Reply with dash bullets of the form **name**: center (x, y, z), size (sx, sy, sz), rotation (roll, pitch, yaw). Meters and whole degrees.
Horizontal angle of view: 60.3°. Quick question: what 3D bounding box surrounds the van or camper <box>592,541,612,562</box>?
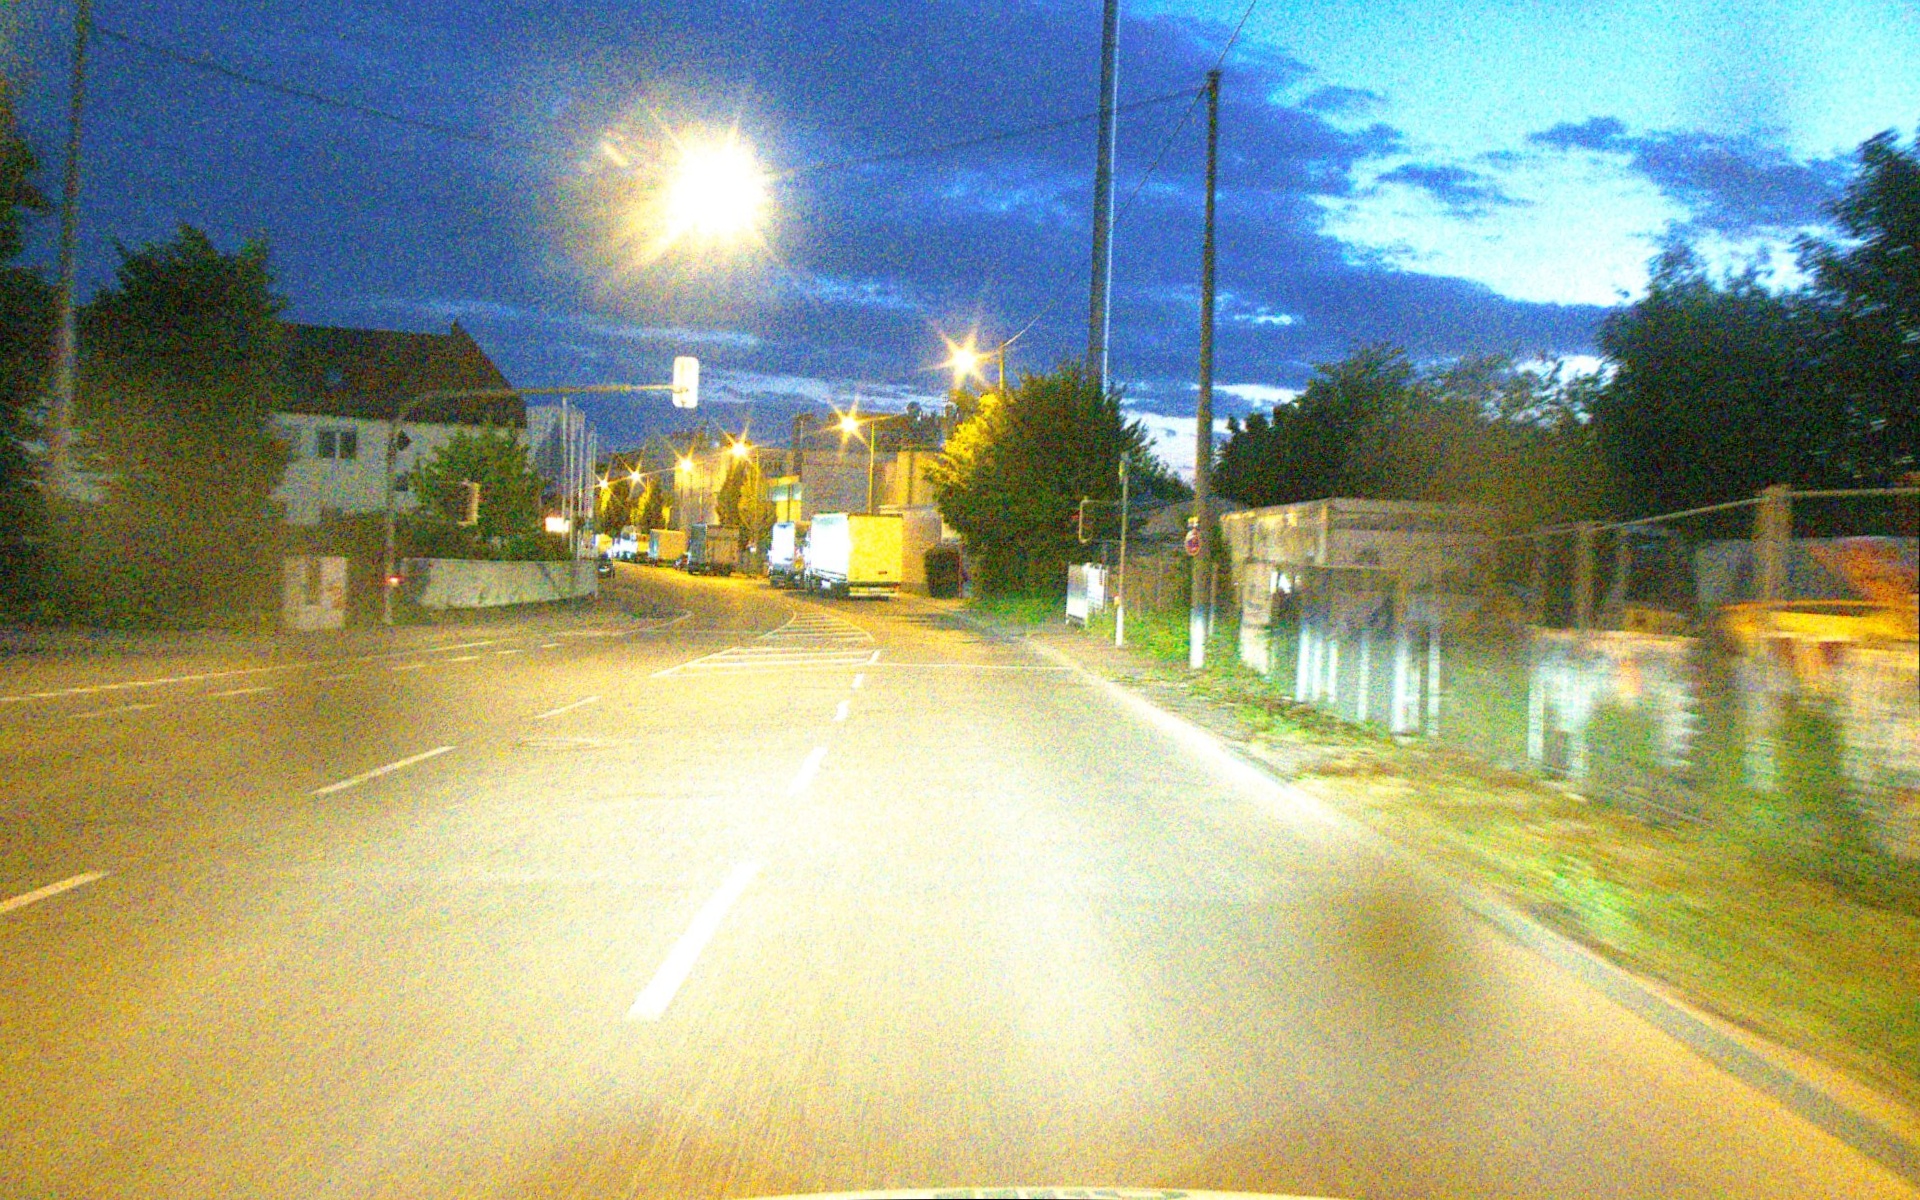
- **van or camper**: center (-46.024, -6.225, 212.546), size (1.962, 2.626, 4.893), rotation (2, 1, -17)

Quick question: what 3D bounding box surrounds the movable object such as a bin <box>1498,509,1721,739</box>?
- **movable object such as a bin**: center (7.317, 0.255, 18.743), size (1.650, 2.424, 1.611), rotation (3, 1, -13)

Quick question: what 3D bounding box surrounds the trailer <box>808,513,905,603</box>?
- **trailer**: center (-5.343, -2.097, 82.500), size (2.759, 4.052, 13.933), rotation (0, 1, -12)

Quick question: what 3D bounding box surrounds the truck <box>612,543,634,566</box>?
- **truck**: center (-39.165, -5.311, 192.105), size (1.962, 2.449, 5.267), rotation (2, 1, -18)

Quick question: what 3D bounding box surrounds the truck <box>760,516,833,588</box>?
- **truck**: center (-9.927, -2.855, 99.409), size (2.783, 4.052, 10.303), rotation (0, 1, -15)

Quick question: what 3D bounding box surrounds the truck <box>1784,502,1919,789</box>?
- **truck**: center (9.322, 0.453, 12.848), size (2.138, 2.465, 7.316), rotation (3, 1, 0)

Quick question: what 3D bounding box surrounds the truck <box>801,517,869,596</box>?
- **truck**: center (-6.804, -2.351, 89.243), size (2.781, 4.052, 6.031), rotation (0, 1, -13)

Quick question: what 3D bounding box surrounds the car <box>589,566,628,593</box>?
- **car**: center (-23.571, -1.371, 110.869), size (1.963, 1.665, 4.748), rotation (2, 1, -19)

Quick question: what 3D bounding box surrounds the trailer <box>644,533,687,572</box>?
- **trailer**: center (-28.212, -4.538, 158.386), size (2.647, 3.524, 7.764), rotation (2, 1, -20)

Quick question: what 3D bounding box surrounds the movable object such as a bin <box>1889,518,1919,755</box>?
- **movable object such as a bin**: center (12.441, 0.500, 18.044), size (2.183, 2.772, 3.863), rotation (3, 1, -3)

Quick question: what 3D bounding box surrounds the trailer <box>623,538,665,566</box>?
- **trailer**: center (-33.243, -5.048, 173.824), size (3.134, 2.796, 10.663), rotation (0, 1, -17)

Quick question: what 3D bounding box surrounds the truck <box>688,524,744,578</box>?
- **truck**: center (-19.444, -3.859, 131.383), size (3.461, 4.052, 10.306), rotation (0, 1, -14)

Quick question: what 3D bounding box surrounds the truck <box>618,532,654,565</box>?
- **truck**: center (-35.375, -5.616, 180.592), size (3.102, 3.523, 6.641), rotation (0, 1, -18)

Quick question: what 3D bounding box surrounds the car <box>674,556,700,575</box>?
- **car**: center (-24.185, -3.063, 146.382), size (1.823, 1.545, 3.800), rotation (0, 1, -17)
